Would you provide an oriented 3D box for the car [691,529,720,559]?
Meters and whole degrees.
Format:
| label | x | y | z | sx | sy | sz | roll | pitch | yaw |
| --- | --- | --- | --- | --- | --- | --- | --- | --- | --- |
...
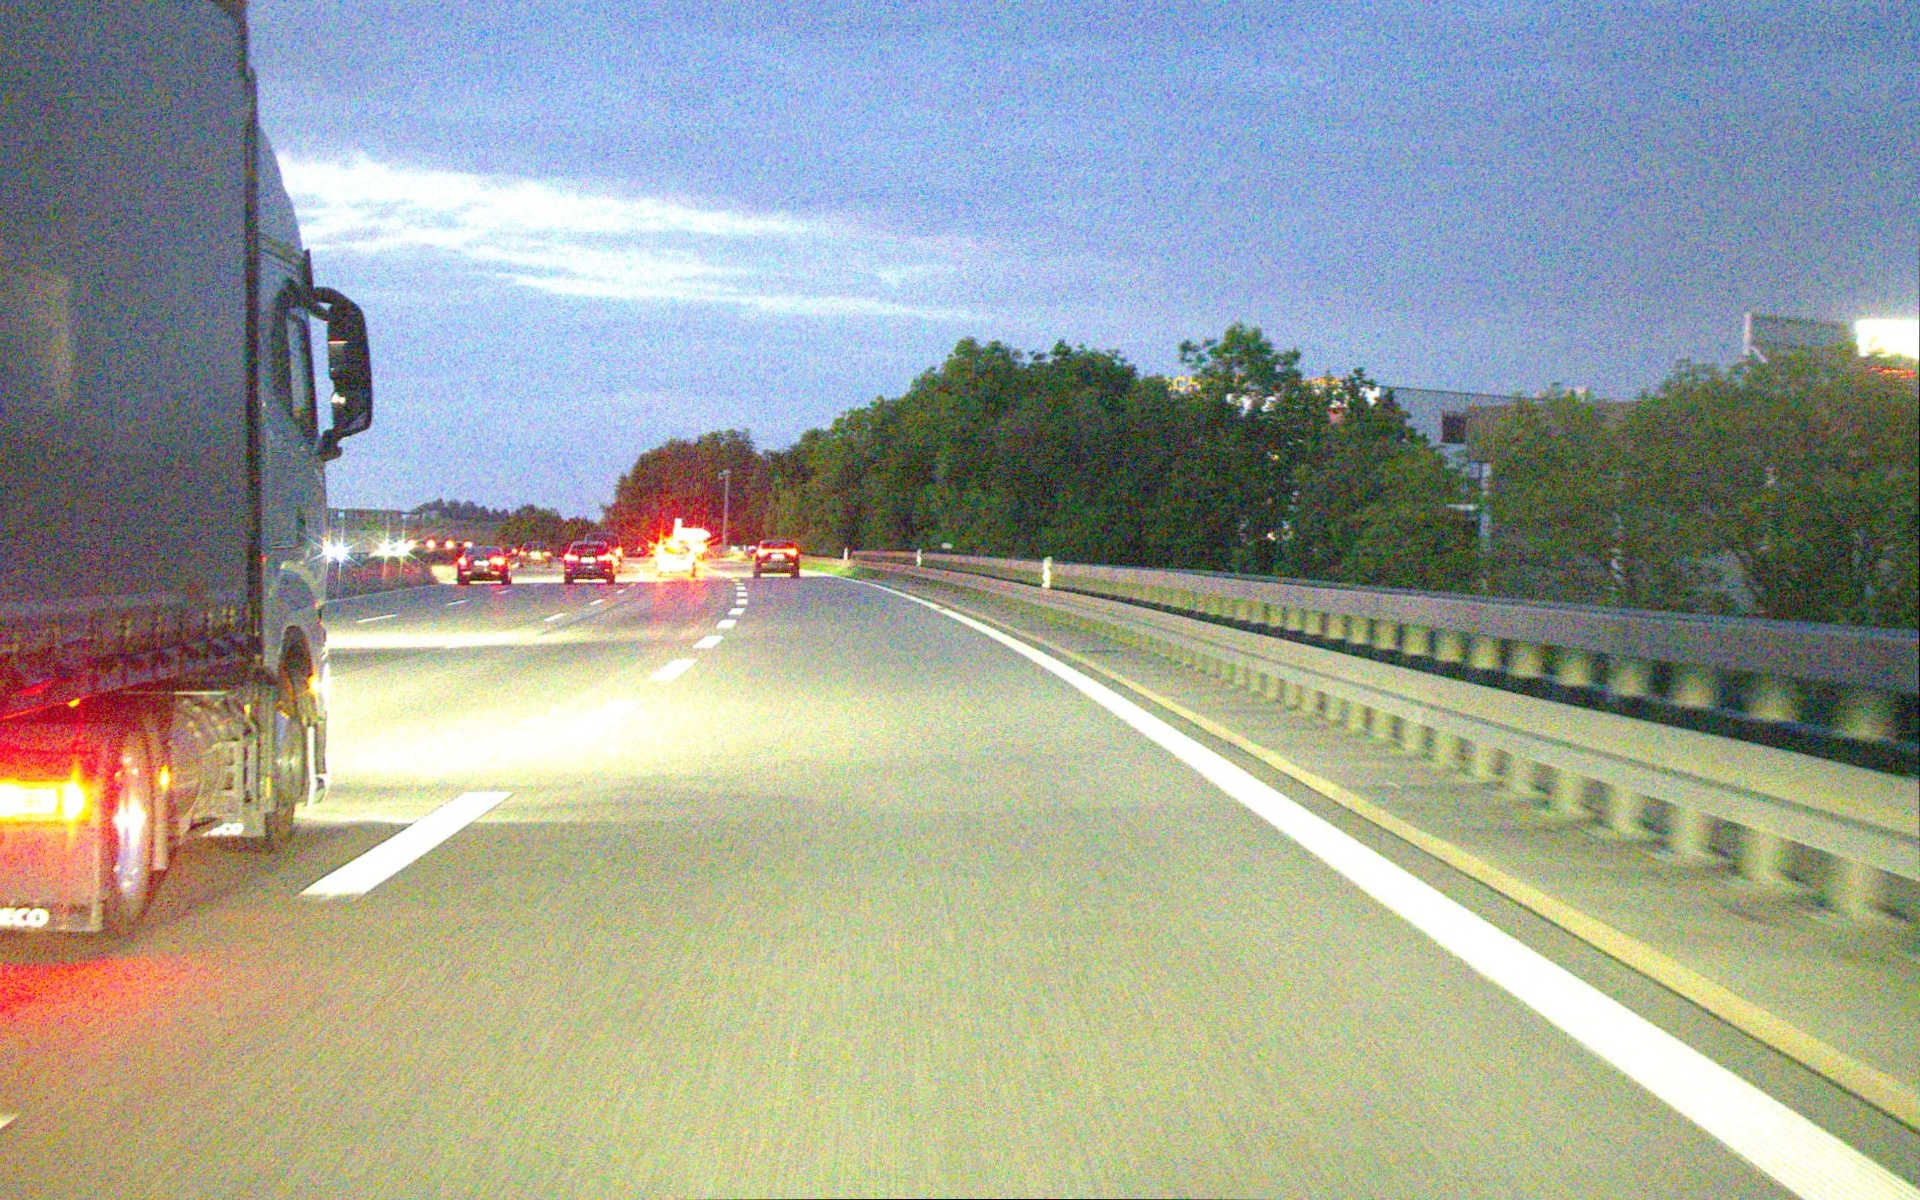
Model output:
| label | x | y | z | sx | sy | sz | roll | pitch | yaw |
| --- | --- | --- | --- | --- | --- | --- | --- | --- | --- |
| car | -18.527 | -4.078 | 250.473 | 1.993 | 2.007 | 4.000 | 1 | -2 | -2 |

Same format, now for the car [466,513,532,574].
| label | x | y | z | sx | sy | sz | roll | pitch | yaw |
| --- | --- | --- | --- | --- | --- | --- | --- | --- | --- |
| car | -17.030 | -2.083 | 127.106 | 1.993 | 2.040 | 4.000 | 1 | -2 | -2 |

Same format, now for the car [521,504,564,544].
| label | x | y | z | sx | sy | sz | roll | pitch | yaw |
| --- | --- | --- | --- | --- | --- | --- | --- | --- | --- |
| car | -23.432 | -4.235 | 192.994 | 1.993 | 2.007 | 4.000 | 1 | -2 | -2 |

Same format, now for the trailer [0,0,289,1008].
| label | x | y | z | sx | sy | sz | roll | pitch | yaw |
| --- | --- | --- | --- | --- | --- | --- | --- | --- | --- |
| trailer | -4.730 | -0.731 | 8.738 | 3.550 | 4.102 | 15.065 | 0 | 1 | -2 |

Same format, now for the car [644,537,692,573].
| label | x | y | z | sx | sy | sz | roll | pitch | yaw |
| --- | --- | --- | --- | --- | --- | --- | --- | --- | --- |
| car | -12.796 | -1.957 | 150.800 | 1.884 | 1.350 | 4.000 | 1 | -2 | -2 |

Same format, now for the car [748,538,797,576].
| label | x | y | z | sx | sy | sz | roll | pitch | yaw |
| --- | --- | --- | --- | --- | --- | --- | --- | --- | --- |
| car | -7.874 | -1.795 | 144.522 | 1.993 | 1.350 | 4.000 | 1 | -2 | -2 |

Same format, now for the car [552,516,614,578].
| label | x | y | z | sx | sy | sz | roll | pitch | yaw |
| --- | --- | --- | --- | --- | --- | --- | --- | --- | --- |
| car | -13.934 | -1.953 | 127.193 | 1.993 | 2.073 | 4.000 | 1 | -2 | -2 |

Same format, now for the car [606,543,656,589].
| label | x | y | z | sx | sy | sz | roll | pitch | yaw |
| --- | --- | --- | --- | --- | --- | --- | --- | --- | --- |
| car | -16.006 | -1.643 | 167.419 | 1.993 | 2.007 | 3.999 | 1 | -2 | 1 |

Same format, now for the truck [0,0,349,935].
| label | x | y | z | sx | sy | sz | roll | pitch | yaw |
| --- | --- | --- | --- | --- | --- | --- | --- | --- | --- |
| truck | -4.993 | -0.843 | 15.762 | 3.550 | 4.077 | 6.152 | 0 | 1 | -3 |
